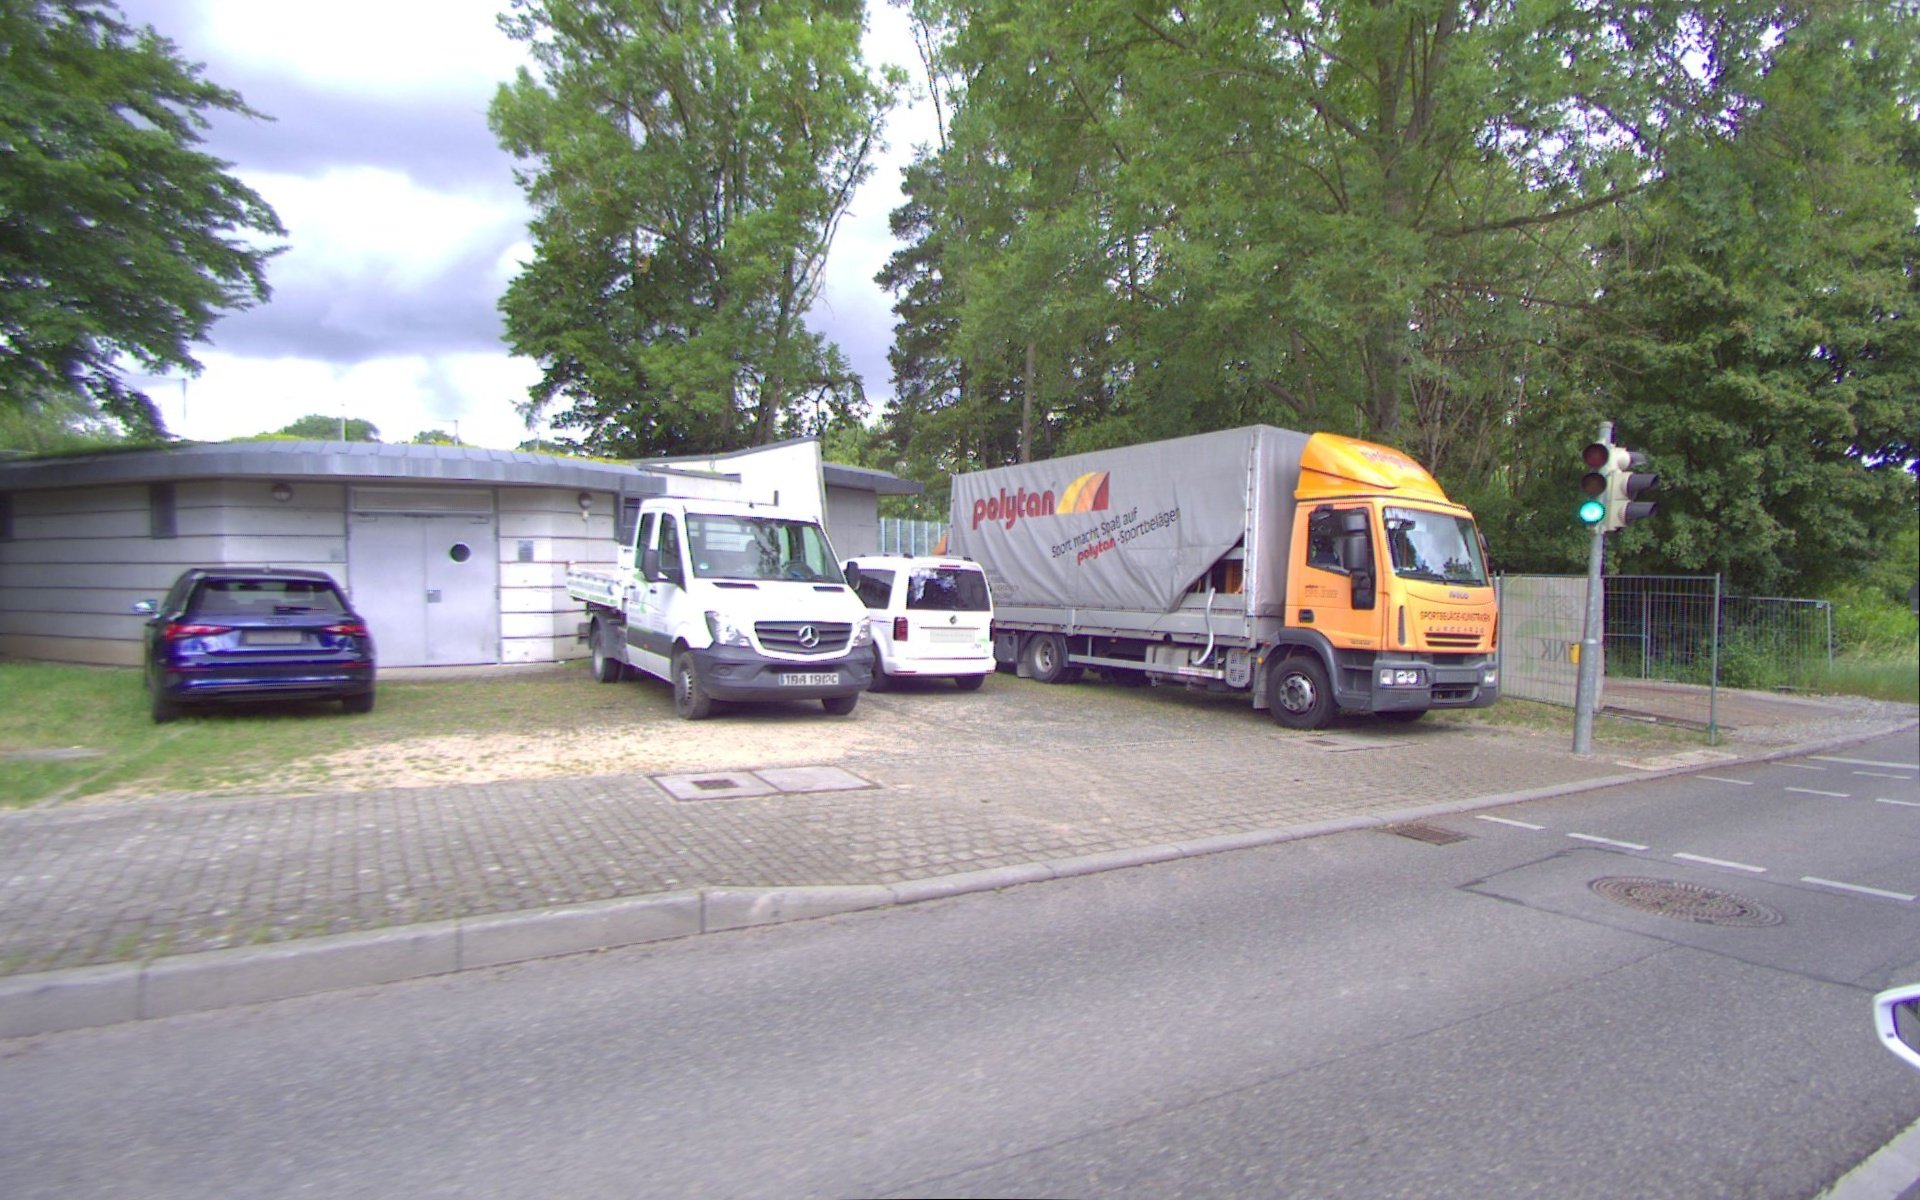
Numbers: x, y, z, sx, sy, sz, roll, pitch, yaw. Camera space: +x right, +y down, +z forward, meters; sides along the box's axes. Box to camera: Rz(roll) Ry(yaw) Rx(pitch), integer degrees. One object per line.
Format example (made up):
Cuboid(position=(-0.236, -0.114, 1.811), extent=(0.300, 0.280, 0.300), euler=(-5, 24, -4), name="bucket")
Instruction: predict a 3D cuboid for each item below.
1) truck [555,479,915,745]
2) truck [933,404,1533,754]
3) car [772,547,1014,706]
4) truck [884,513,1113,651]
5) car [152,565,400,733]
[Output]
Cuboid(position=(-3.164, -0.030, 12.472), extent=(2.102, 2.448, 6.344), euler=(2, 2, -34), name="truck")
Cuboid(position=(3.078, -0.346, 14.864), extent=(2.537, 3.579, 9.178), euler=(1, 1, -32), name="truck")
Cuboid(position=(-1.129, 0.258, 14.786), extent=(1.763, 1.935, 3.961), euler=(0, 3, -34), name="car")
Cuboid(position=(0.901, -0.516, 26.571), extent=(5.827, 3.243, 2.441), euler=(2, 3, 41), name="truck")
Cuboid(position=(-7.268, 0.403, 10.497), extent=(1.704, 1.344, 3.953), euler=(4, 0, -40), name="car")
